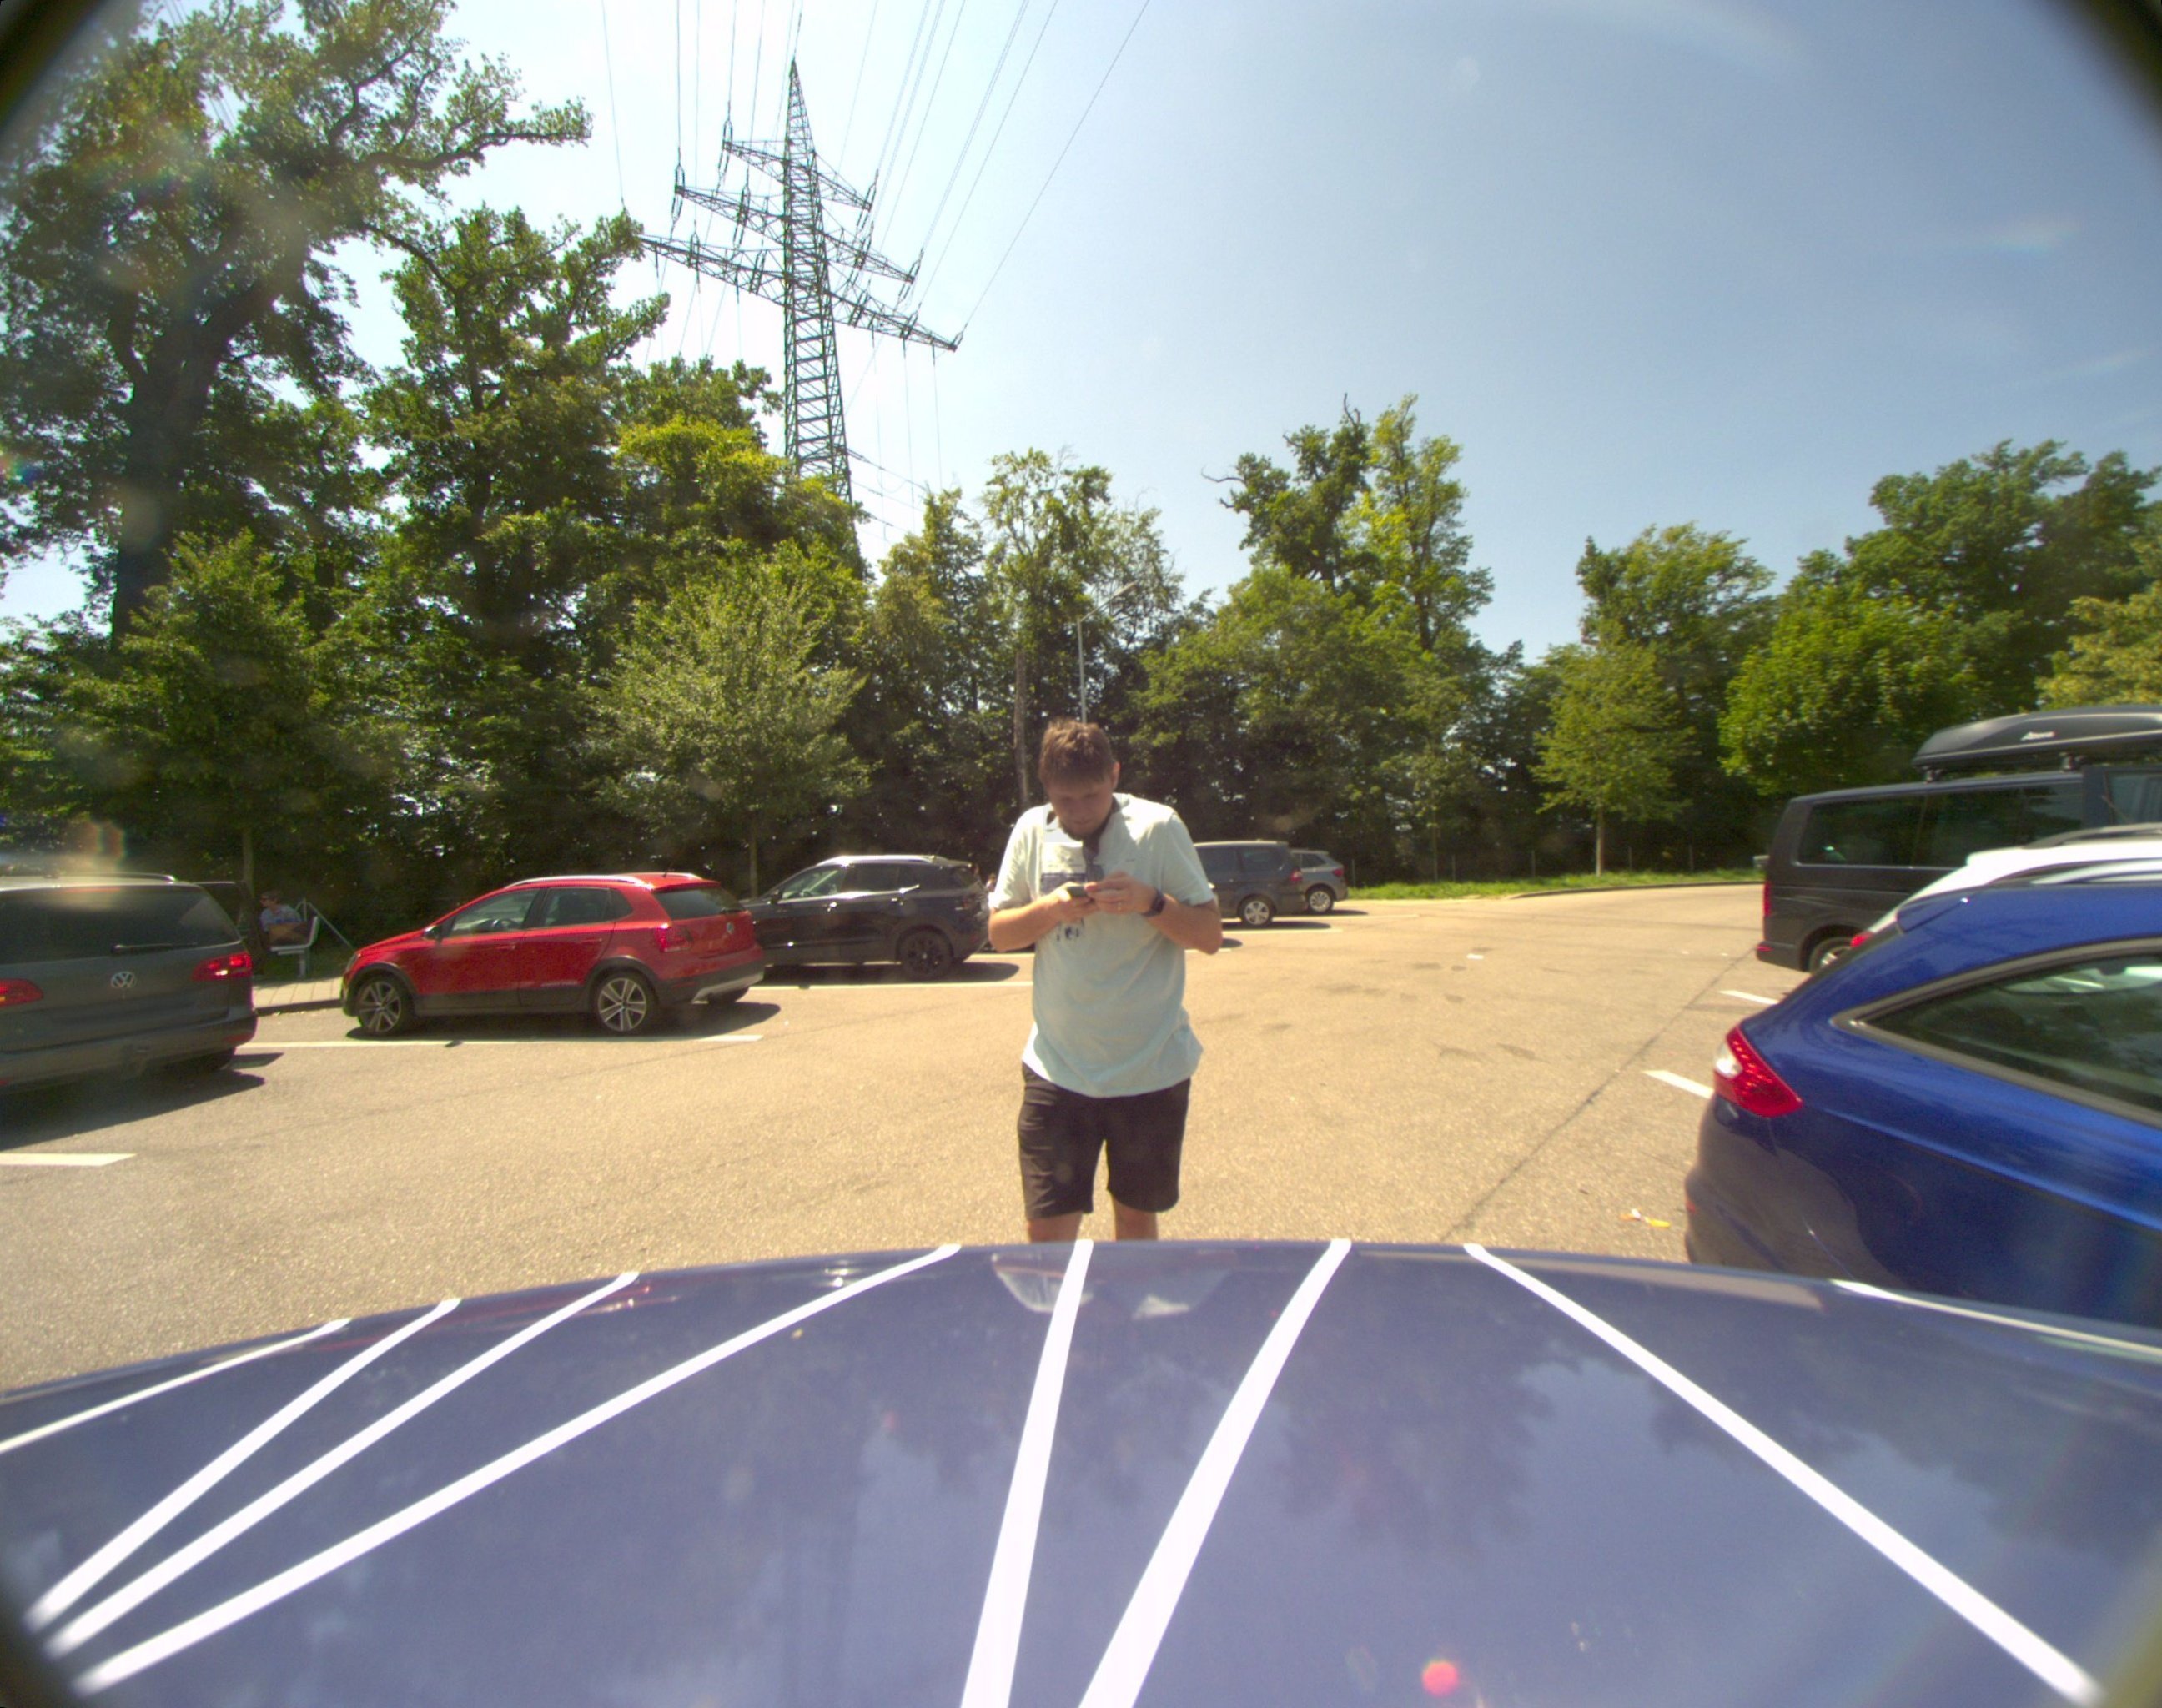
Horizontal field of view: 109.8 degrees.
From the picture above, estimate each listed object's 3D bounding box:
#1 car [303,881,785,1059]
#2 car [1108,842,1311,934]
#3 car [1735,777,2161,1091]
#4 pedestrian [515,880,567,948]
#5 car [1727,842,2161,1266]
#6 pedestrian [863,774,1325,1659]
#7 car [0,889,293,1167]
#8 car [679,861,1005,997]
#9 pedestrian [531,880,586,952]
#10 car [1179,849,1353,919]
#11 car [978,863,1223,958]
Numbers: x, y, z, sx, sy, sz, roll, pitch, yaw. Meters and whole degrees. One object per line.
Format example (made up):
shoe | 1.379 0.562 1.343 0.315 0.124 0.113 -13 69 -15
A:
car | -5.232 1.078 7.663 3.785 1.457 1.722 -1 1 9
car | 2.596 0.675 15.464 3.818 1.714 1.722 -1 1 12
car | 7.327 0.433 4.924 1.961 1.858 4.642 -3 -1 -3
pedestrian | -10.904 1.187 15.333 0.782 1.287 0.670 -1 2 45
car | 4.880 0.723 2.295 1.741 1.524 4.642 -3 -1 -2
pedestrian | 0.036 0.766 1.893 0.890 1.831 0.622 -2 1 1
car | -8.284 1.121 5.454 3.985 1.572 1.749 -1 1 12
car | -3.059 0.948 10.273 3.787 1.564 1.721 -2 1 2
pedestrian | -9.988 1.160 14.511 0.782 1.287 0.670 -1 2 45
car | 4.348 0.697 18.166 3.818 1.530 1.722 -1 1 12
car | 0.372 0.908 12.738 3.819 1.377 1.722 -2 1 6
